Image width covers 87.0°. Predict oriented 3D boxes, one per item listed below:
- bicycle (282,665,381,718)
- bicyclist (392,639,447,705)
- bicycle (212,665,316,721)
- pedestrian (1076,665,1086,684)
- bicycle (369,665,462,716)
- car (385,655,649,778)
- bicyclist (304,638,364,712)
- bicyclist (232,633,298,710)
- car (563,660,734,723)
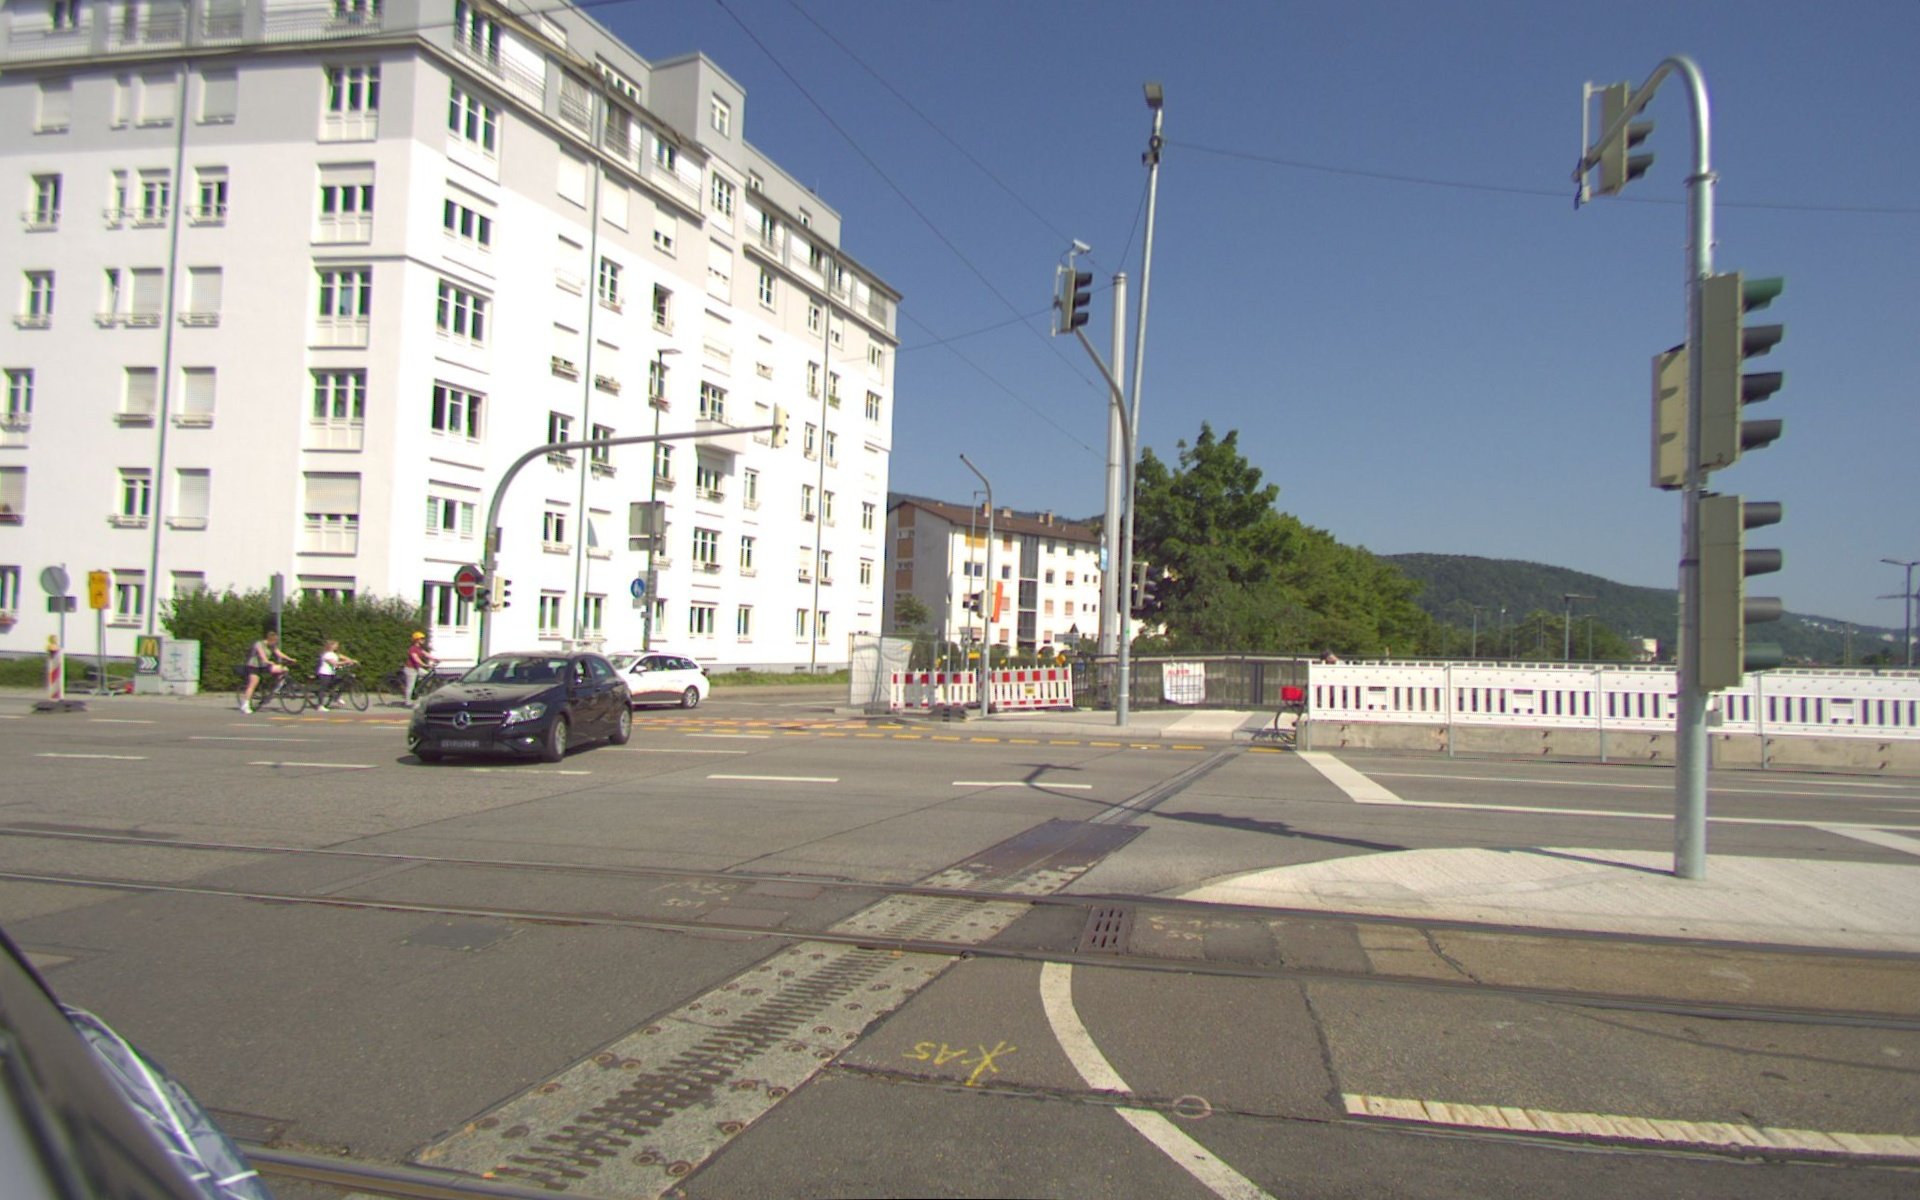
[{"bbox_3d":[-13.954,2.035,22.510,1.759,1.108,0.629,1,-2,-4],"label":"bicycle"},{"bbox_3d":[-12.535,1.668,23.479,0.904,1.489,0.598,1,-3,-3],"label":"bicyclist"},{"bbox_3d":[-14.900,1.988,21.692,1.761,1.108,0.618,2,-2,0],"label":"bicycle"},{"bbox_3d":[9.886,6.070,82.798,0.605,1.520,0.764,0,-3,26],"label":"pedestrian"},{"bbox_3d":[-12.605,2.092,23.448,1.788,1.108,0.605,1,-3,-2],"label":"bicycle"},{"bbox_3d":[-5.905,1.521,14.181,1.680,1.419,4.622,0,-4,-1],"label":"car"},{"bbox_3d":[-13.926,1.655,22.529,0.904,1.591,0.624,1,-2,-4],"label":"bicyclist"},{"bbox_3d":[-14.899,1.525,21.710,0.905,1.602,0.624,2,-2,0],"label":"bicyclist"},{"bbox_3d":[-7.725,2.264,25.600,1.691,1.423,4.452,0,-4,22],"label":"car"}]
